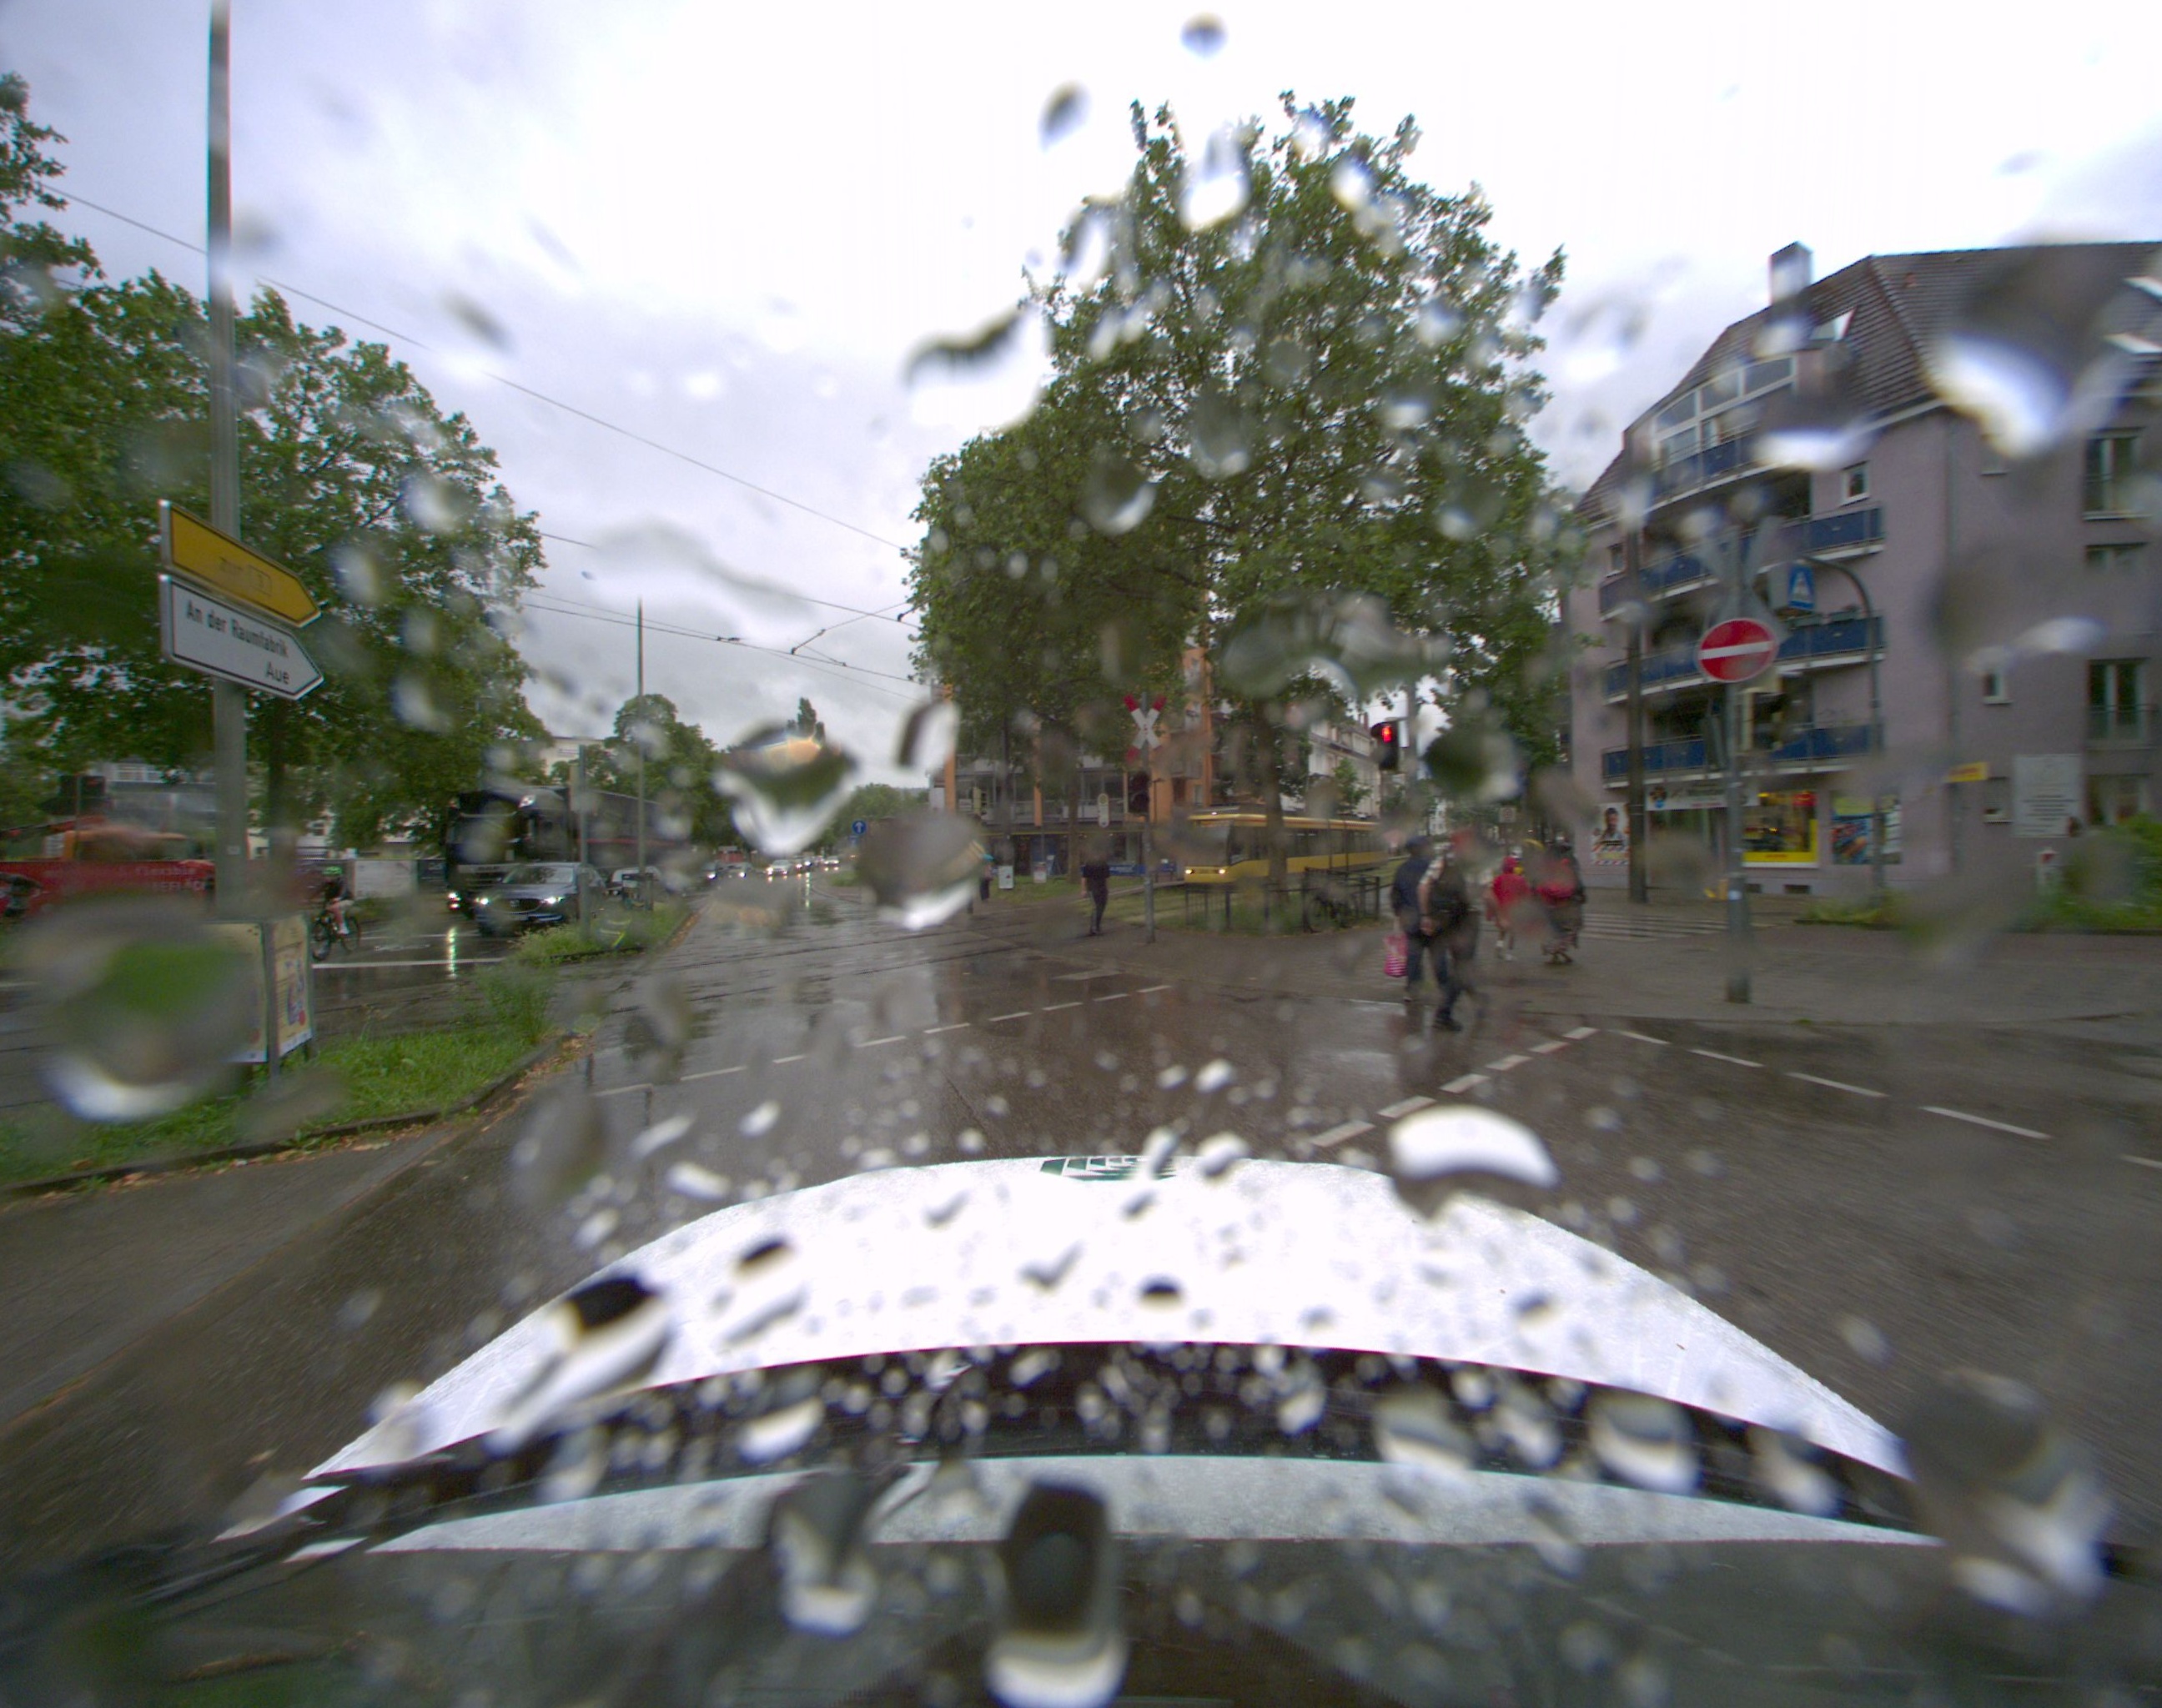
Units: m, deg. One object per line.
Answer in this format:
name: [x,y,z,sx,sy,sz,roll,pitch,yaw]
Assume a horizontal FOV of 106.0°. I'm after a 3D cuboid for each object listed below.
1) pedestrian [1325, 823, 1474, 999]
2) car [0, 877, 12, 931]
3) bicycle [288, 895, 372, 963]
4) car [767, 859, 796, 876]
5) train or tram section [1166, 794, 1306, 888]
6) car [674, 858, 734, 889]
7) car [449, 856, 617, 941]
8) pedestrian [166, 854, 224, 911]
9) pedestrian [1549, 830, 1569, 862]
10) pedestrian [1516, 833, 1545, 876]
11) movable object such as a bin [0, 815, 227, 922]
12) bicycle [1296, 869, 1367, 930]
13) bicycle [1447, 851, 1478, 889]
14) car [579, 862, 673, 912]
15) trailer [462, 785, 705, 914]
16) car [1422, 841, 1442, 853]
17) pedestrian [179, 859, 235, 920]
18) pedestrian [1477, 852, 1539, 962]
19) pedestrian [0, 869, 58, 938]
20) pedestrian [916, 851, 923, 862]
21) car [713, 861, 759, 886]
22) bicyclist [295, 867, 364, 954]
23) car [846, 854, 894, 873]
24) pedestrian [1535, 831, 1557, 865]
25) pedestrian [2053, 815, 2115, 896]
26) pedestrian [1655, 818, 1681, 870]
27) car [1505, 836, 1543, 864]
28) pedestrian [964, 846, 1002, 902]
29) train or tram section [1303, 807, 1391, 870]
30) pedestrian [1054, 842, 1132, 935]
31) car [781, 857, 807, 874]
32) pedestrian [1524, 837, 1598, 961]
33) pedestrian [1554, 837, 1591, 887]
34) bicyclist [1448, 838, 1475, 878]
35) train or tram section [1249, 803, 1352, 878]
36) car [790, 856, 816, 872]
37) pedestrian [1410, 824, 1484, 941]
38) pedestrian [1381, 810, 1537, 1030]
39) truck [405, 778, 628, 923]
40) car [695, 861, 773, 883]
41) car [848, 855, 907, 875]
pedestrian: [3.355,0.548,8.616,1.059,1.686,0.987,-2,1,-29]
car: [-28.710,1.274,19.456,3.646,1.321,1.841,-1,0,-5]
bicycle: [-13.385,1.298,14.568,0.534,1.024,1.859,-2,1,-25]
car: [-26.362,1.135,71.817,1.777,1.403,4.808,-1,0,-13]
train or tram section: [6.622,-0.515,33.521,2.612,3.369,8.430,-1,1,33]
car: [-21.056,1.097,45.642,1.868,1.619,4.784,-2,-1,-11]
car: [-13.215,0.977,20.037,2.079,1.682,4.901,1,1,-18]
pedestrian: [-25.641,0.813,23.579,0.637,1.581,0.883,-2,0,10]
pedestrian: [26.305,-0.453,44.817,0.909,1.697,0.962,-1,1,31]
pedestrian: [18.154,0.011,32.876,0.943,1.697,0.927,-1,1,30]
movable object such as a bin: [-30.199,0.404,24.072,6.737,2.930,2.773,-1,0,-2]
bicycle: [4.896,0.859,15.892,1.626,1.077,0.441,-1,0,-37]
bicycle: [12.840,0.516,27.381,0.743,1.173,2.054,-2,1,30]
car: [-14.694,1.004,26.527,1.701,1.373,4.079,-1,1,-15]
trailer: [-19.283,-0.224,33.439,3.444,4.048,14.991,-2,1,-11]
car: [44.424,-0.901,102.961,1.975,1.533,4.024,-1,1,27]
pedestrian: [-24.650,0.979,22.970,0.744,1.649,0.914,-2,0,32]
pedestrian: [5.769,0.690,11.039,0.665,1.381,1.016,-2,1,25]
pedestrian: [-24.338,1.122,18.710,0.637,1.515,0.774,-2,0,10]
pedestrian: [-27.620,0.360,139.288,1.061,1.811,1.091,-1,0,-6]
car: [-22.044,1.205,52.135,1.727,1.361,4.323,-2,1,-10]
bicyclist: [-13.388,0.974,14.526,0.582,1.461,1.003,-2,0,-25]
car: [-19.308,0.855,74.804,4.195,1.568,1.880,-2,0,-14]
pedestrian: [23.403,-0.301,40.966,0.909,1.697,0.962,-1,1,32]
pedestrian: [22.763,0.026,18.492,0.619,1.804,0.642,-2,1,-5]
pedestrian: [18.414,-0.305,25.551,0.596,1.602,0.468,-1,0,-33]
car: [28.453,-0.261,52.275,1.974,1.673,4.025,-1,0,30]
pedestrian: [-3.429,0.674,28.316,1.171,1.865,1.380,-1,1,-12]
train or tram section: [16.022,-0.916,48.472,2.612,3.351,10.051,-1,1,32]
pedestrian: [0.231,0.673,16.551,1.043,1.788,1.223,-1,0,-36]
car: [-27.763,1.101,78.970,1.780,1.420,4.248,-2,1,-12]
pedestrian: [6.255,0.566,10.647,0.684,1.547,0.766,-2,1,21]
pedestrian: [15.917,0.254,26.370,0.982,1.559,0.789,-1,0,32]
bicyclist: [12.833,0.122,27.438,0.733,1.309,1.084,-2,1,28]
train or tram section: [11.136,-0.663,40.635,2.612,3.351,8.430,-1,1,32]
car: [-29.179,1.002,85.638,1.914,1.639,4.804,-1,0,-10]
pedestrian: [5.068,0.365,11.276,0.868,1.525,1.071,-1,1,25]
pedestrian: [3.363,0.527,7.252,0.998,1.781,0.804,-2,1,-32]
truck: [-17.921,-0.158,26.601,3.452,4.078,6.946,-1,1,-12]
car: [-24.520,1.274,57.596,4.871,1.454,2.097,-1,1,20]
car: [-16.497,0.862,66.256,4.537,1.470,1.975,-2,0,-12]
